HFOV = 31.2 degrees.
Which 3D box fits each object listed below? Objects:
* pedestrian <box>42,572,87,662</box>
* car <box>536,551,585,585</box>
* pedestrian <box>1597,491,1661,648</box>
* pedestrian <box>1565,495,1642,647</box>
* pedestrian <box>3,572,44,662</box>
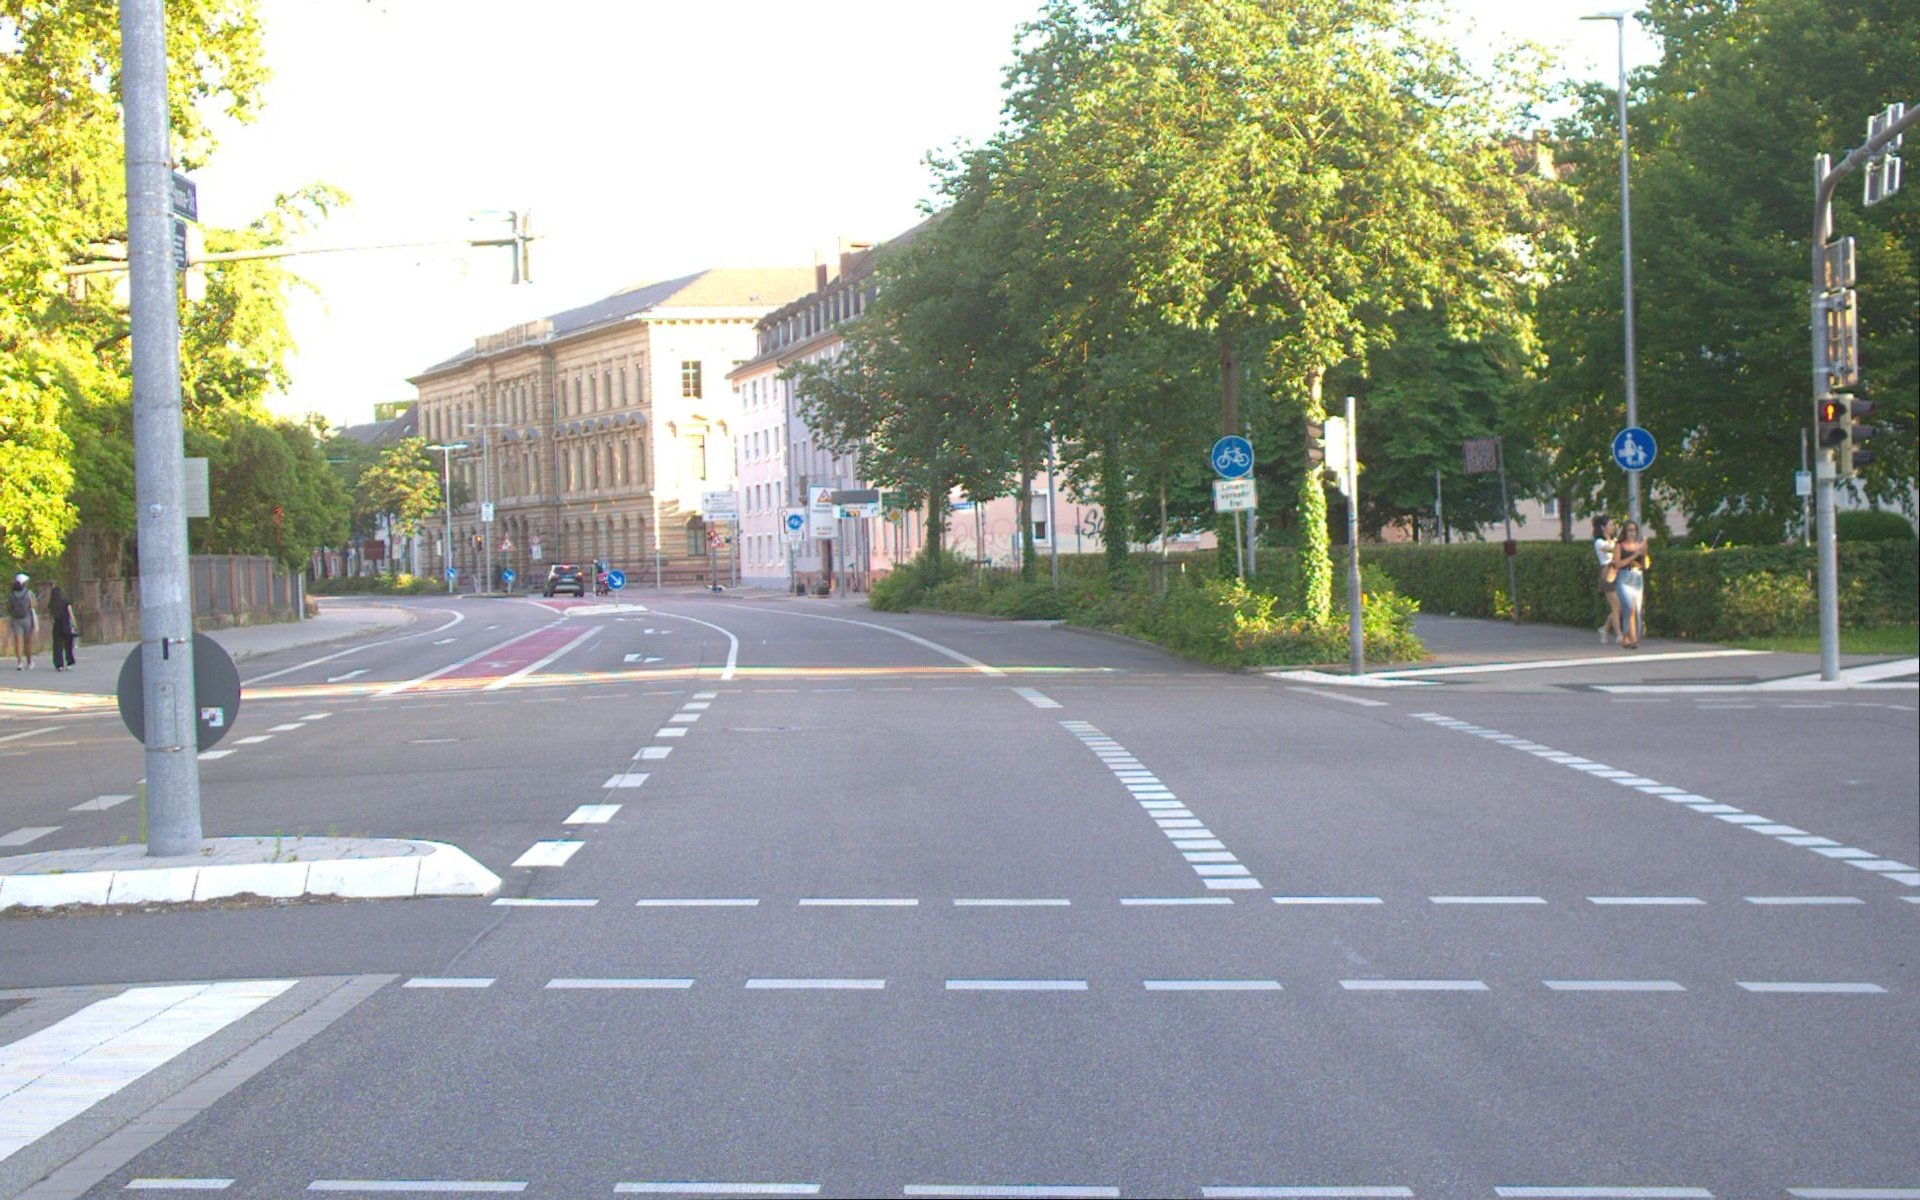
[{"bbox_3d":[-16.010,0.300,61.455,0.599,1.568,0.646,-2,1,-1],"label":"pedestrian"},{"bbox_3d":[-19.737,-1.579,169.734,1.819,1.583,4.001,-3,1,-14],"label":"car"},{"bbox_3d":[8.661,-0.396,44.551,0.635,2.007,0.720,-1,1,-4],"label":"pedestrian"},{"bbox_3d":[8.599,-0.385,45.940,0.870,2.007,0.722,0,1,-1],"label":"pedestrian"},{"bbox_3d":[-16.759,0.297,61.516,0.535,1.591,0.590,-2,1,-1],"label":"pedestrian"}]
